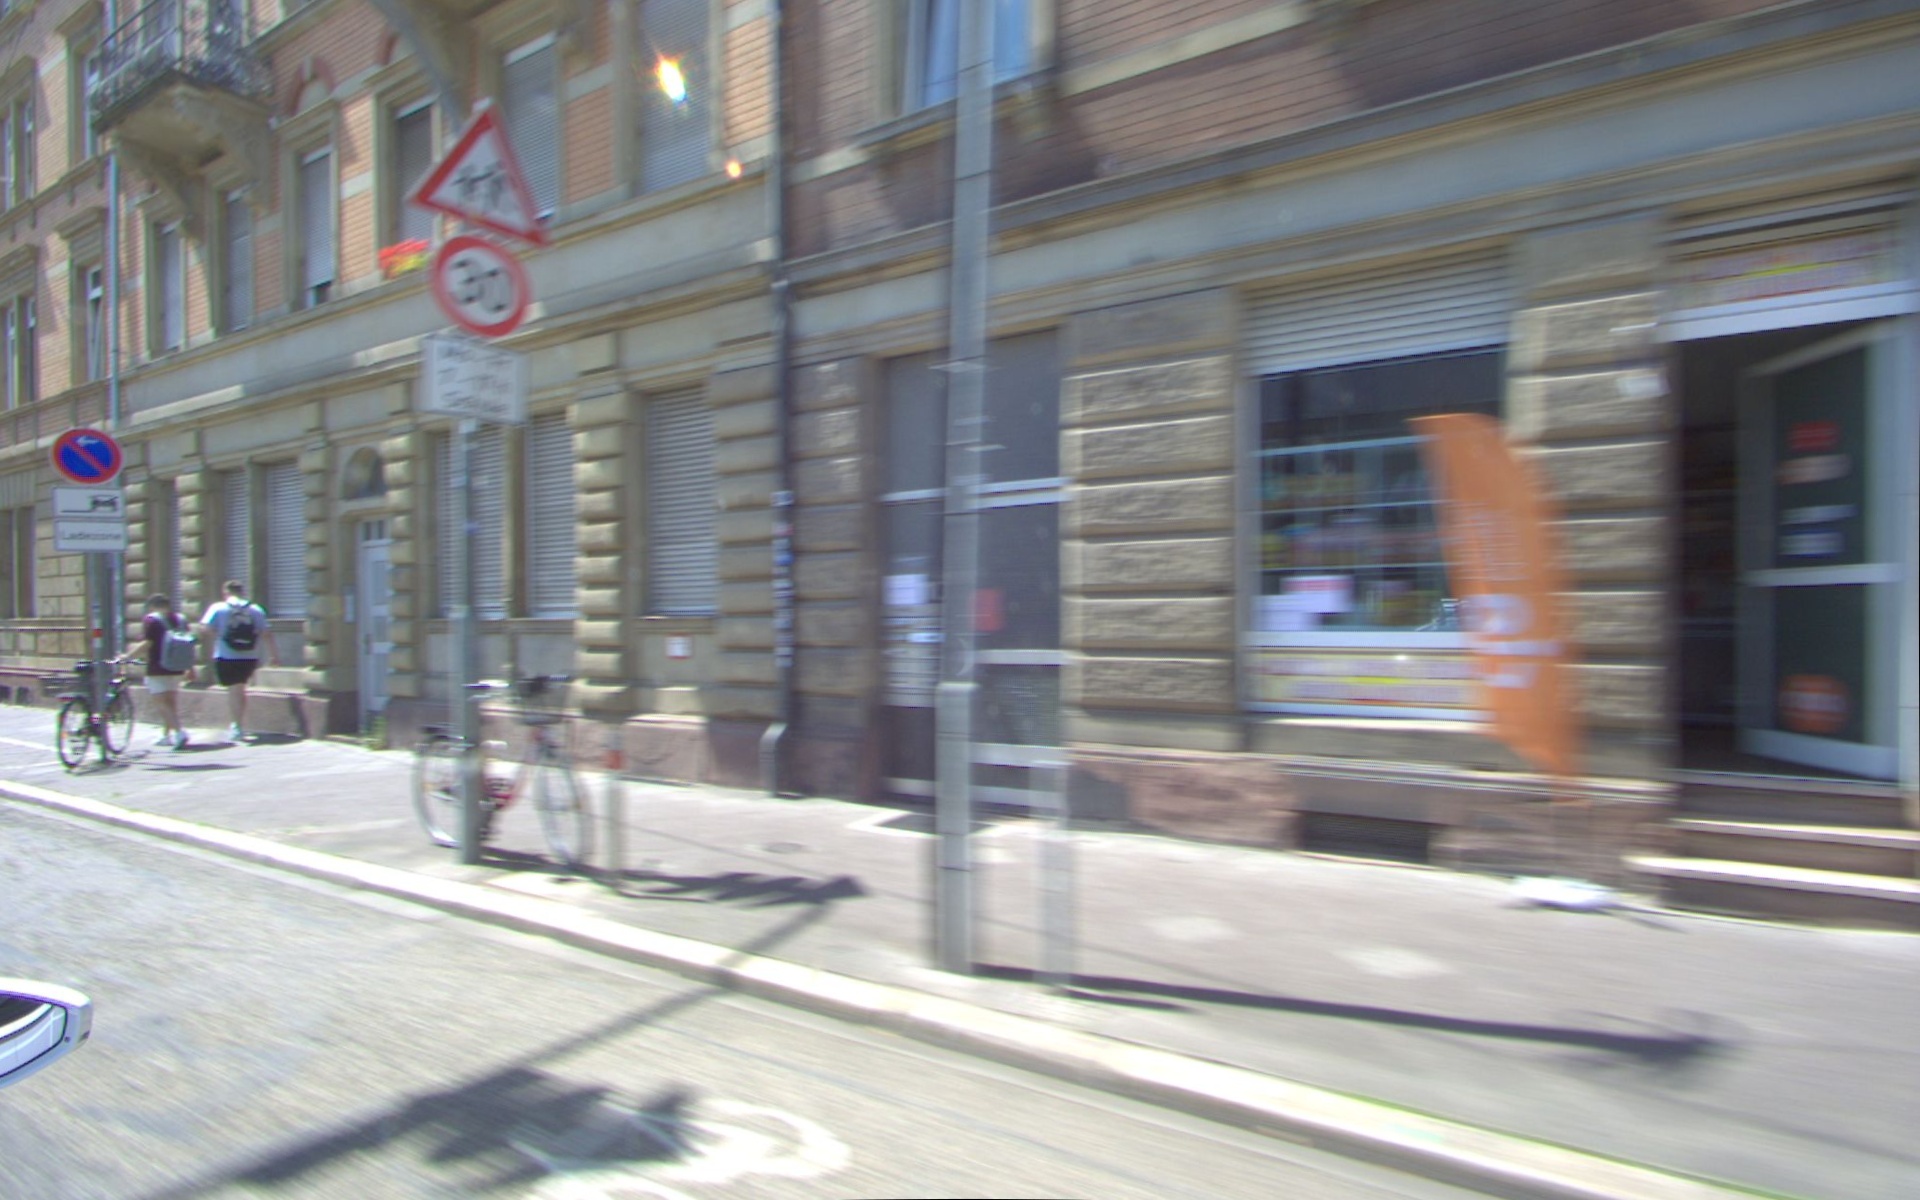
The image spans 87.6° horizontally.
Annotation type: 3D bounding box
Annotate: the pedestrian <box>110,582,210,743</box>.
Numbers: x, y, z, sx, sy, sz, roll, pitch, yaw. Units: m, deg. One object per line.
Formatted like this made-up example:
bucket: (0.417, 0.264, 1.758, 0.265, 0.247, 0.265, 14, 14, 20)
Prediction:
pedestrian: (-9.065, 0.687, 11.359, 0.634, 1.742, 0.718, 0, 0, 33)

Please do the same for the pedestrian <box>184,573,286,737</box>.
pedestrian: (-8.650, 0.634, 11.957, 0.634, 1.874, 0.700, 0, 3, 33)

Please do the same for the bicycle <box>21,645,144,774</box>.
bicycle: (-9.155, 1.081, 10.526, 0.493, 1.145, 2.232, -1, 0, -29)

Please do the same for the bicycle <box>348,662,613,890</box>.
bicycle: (-3.027, 0.981, 6.170, 2.392, 1.111, 0.446, -1, 0, 38)
